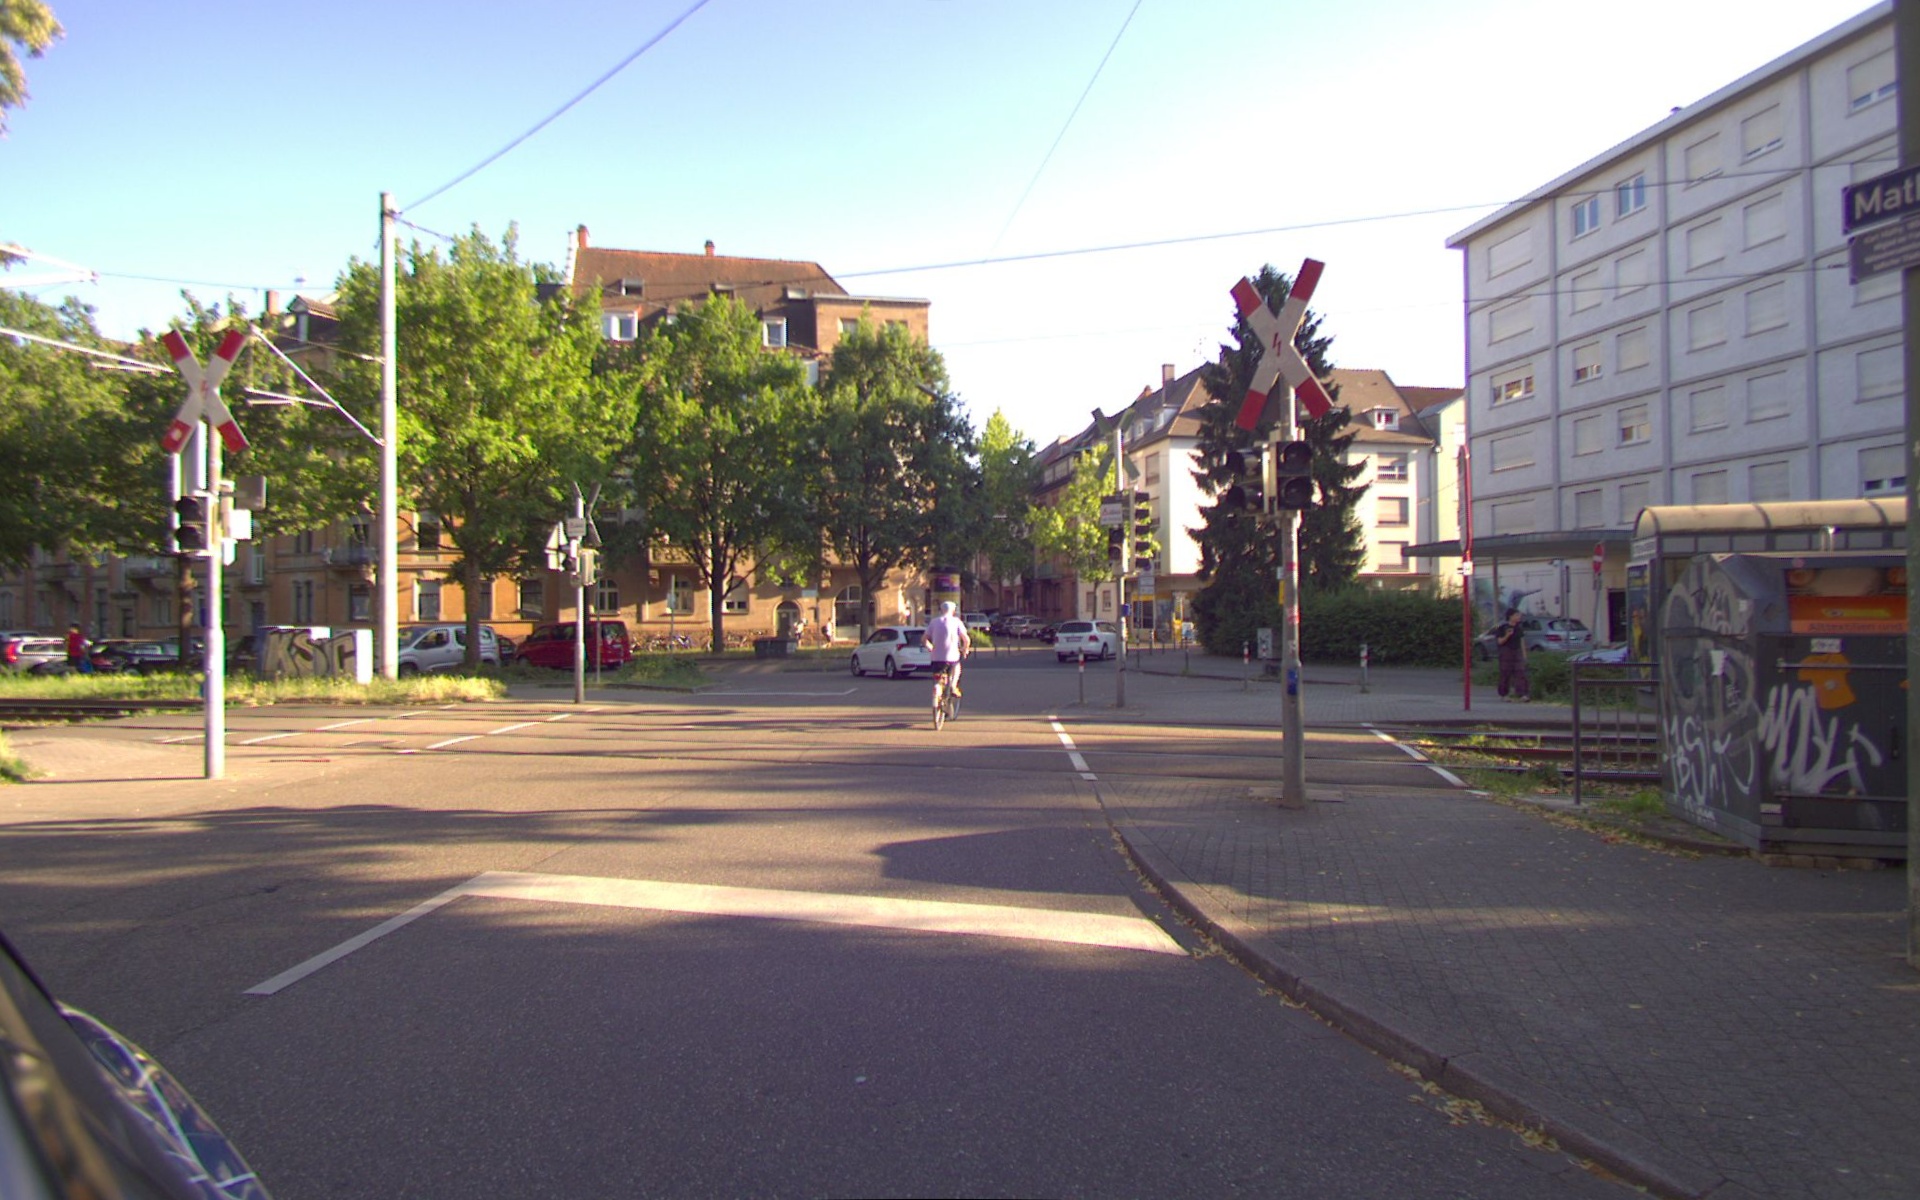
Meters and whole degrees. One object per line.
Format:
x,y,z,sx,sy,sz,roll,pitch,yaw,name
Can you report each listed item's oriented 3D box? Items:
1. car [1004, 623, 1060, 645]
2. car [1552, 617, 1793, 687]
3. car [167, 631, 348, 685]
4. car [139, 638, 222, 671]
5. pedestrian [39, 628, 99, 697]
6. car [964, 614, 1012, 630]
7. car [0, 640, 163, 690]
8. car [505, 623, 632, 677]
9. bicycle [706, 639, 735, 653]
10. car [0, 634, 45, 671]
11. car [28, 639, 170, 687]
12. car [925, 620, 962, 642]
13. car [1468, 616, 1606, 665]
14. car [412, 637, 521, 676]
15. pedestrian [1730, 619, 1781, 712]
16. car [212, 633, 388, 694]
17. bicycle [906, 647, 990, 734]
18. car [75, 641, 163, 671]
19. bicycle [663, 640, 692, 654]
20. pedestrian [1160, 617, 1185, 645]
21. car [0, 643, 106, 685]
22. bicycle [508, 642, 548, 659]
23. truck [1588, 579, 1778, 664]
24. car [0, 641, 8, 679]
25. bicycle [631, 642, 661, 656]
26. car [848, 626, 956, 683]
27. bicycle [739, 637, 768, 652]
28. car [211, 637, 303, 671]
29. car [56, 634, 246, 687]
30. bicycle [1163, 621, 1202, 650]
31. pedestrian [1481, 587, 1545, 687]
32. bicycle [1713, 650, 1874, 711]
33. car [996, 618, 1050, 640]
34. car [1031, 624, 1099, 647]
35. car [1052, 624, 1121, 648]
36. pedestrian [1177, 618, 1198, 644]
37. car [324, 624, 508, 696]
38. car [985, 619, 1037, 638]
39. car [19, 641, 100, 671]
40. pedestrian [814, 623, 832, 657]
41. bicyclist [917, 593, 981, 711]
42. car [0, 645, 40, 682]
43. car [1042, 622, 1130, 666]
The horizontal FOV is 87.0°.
5.332,2.504,74.490,3.937,1.517,1.876,0,-2,-40,car
15.634,1.166,22.444,3.968,1.457,1.706,-2,-3,19,car
-22.776,1.820,33.018,1.939,1.584,4.515,-1,-1,25,car
-38.398,2.674,49.861,3.685,1.486,1.676,-2,0,24,car
-25.805,1.786,29.305,1.143,1.933,0.898,-2,-2,23,pedestrian
2.480,1.935,88.867,3.937,1.410,1.876,0,-2,-40,car
-31.969,2.276,36.524,1.988,1.584,4.676,-1,-1,25,car
-15.378,1.952,39.721,4.742,1.948,1.768,-2,0,24,car
-12.968,2.487,54.794,1.485,0.738,0.370,-1,-2,-13,bicycle
-53.045,2.918,55.888,4.694,1.897,1.899,-2,0,23,car
-29.784,2.144,35.106,1.709,1.526,3.381,-2,-2,25,car
-1.160,2.121,68.912,1.843,1.410,4.008,-1,-2,-10,car
19.332,1.331,34.128,1.968,1.544,4.007,-1,-1,-8,car
-20.521,2.335,42.063,4.246,1.444,1.767,-2,0,25,car
11.383,0.930,14.489,0.449,1.311,0.335,-1,-2,20,pedestrian
-20.480,1.910,31.643,1.933,1.704,4.425,0,-1,17,car
-0.128,1.227,14.202,0.694,1.062,2.115,-1,-1,13,bicycle
-43.173,2.867,51.963,4.264,1.394,1.755,-2,0,24,car
-15.110,2.504,54.101,1.485,0.738,0.370,-1,-2,-13,bicycle
13.008,1.880,61.974,1.195,1.679,0.966,-1,-2,-11,pedestrian
-34.455,2.363,37.524,1.673,1.472,3.969,-2,-2,23,car
-22.507,2.624,52.744,1.867,0.854,0.527,-1,-2,-12,bicycle
23.460,0.724,33.144,1.967,2.554,4.984,0,-2,-12,truck
-41.130,2.459,40.539,1.753,1.592,3.972,-2,-2,20,car
-16.578,2.586,53.381,1.485,0.738,0.370,-1,-2,-13,bicycle
-1.719,1.508,28.670,1.678,1.468,4.075,0,-2,-24,car
-11.244,2.434,55.054,1.485,0.738,0.370,-2,-1,-13,bicycle
-33.101,2.537,47.663,3.854,1.486,1.677,-2,0,21,car
-27.331,1.990,34.386,1.988,1.584,4.676,-1,-1,25,car
11.844,1.856,54.072,0.867,1.456,3.386,-1,-1,-9,bicycle
10.003,0.654,18.341,0.865,1.749,0.825,-1,0,22,pedestrian
11.486,1.102,14.003,1.631,0.789,0.447,-1,-2,22,bicycle
4.833,2.225,77.705,3.937,1.648,1.876,0,-2,-40,car
6.795,2.295,65.361,3.931,1.410,1.879,0,-2,-28,car
7.903,2.222,63.137,3.931,1.410,1.879,0,-2,-28,car
14.112,1.894,62.747,0.948,1.581,0.893,-1,-2,-10,pedestrian
-15.813,1.670,29.711,1.939,1.929,4.515,-1,-1,25,car
4.061,2.237,80.205,3.937,1.410,1.876,0,-2,-40,car
-47.856,2.989,53.783,3.863,1.449,1.756,-2,0,23,car
-7.173,2.074,52.818,0.897,1.731,0.677,0,0,-9,pedestrian
-0.145,0.722,14.209,0.694,1.600,0.870,-1,-1,13,bicyclist
-38.993,2.512,39.682,1.673,1.434,3.969,-2,-2,23,car
4.637,1.560,36.627,1.912,1.461,4.259,-3,-2,25,car
